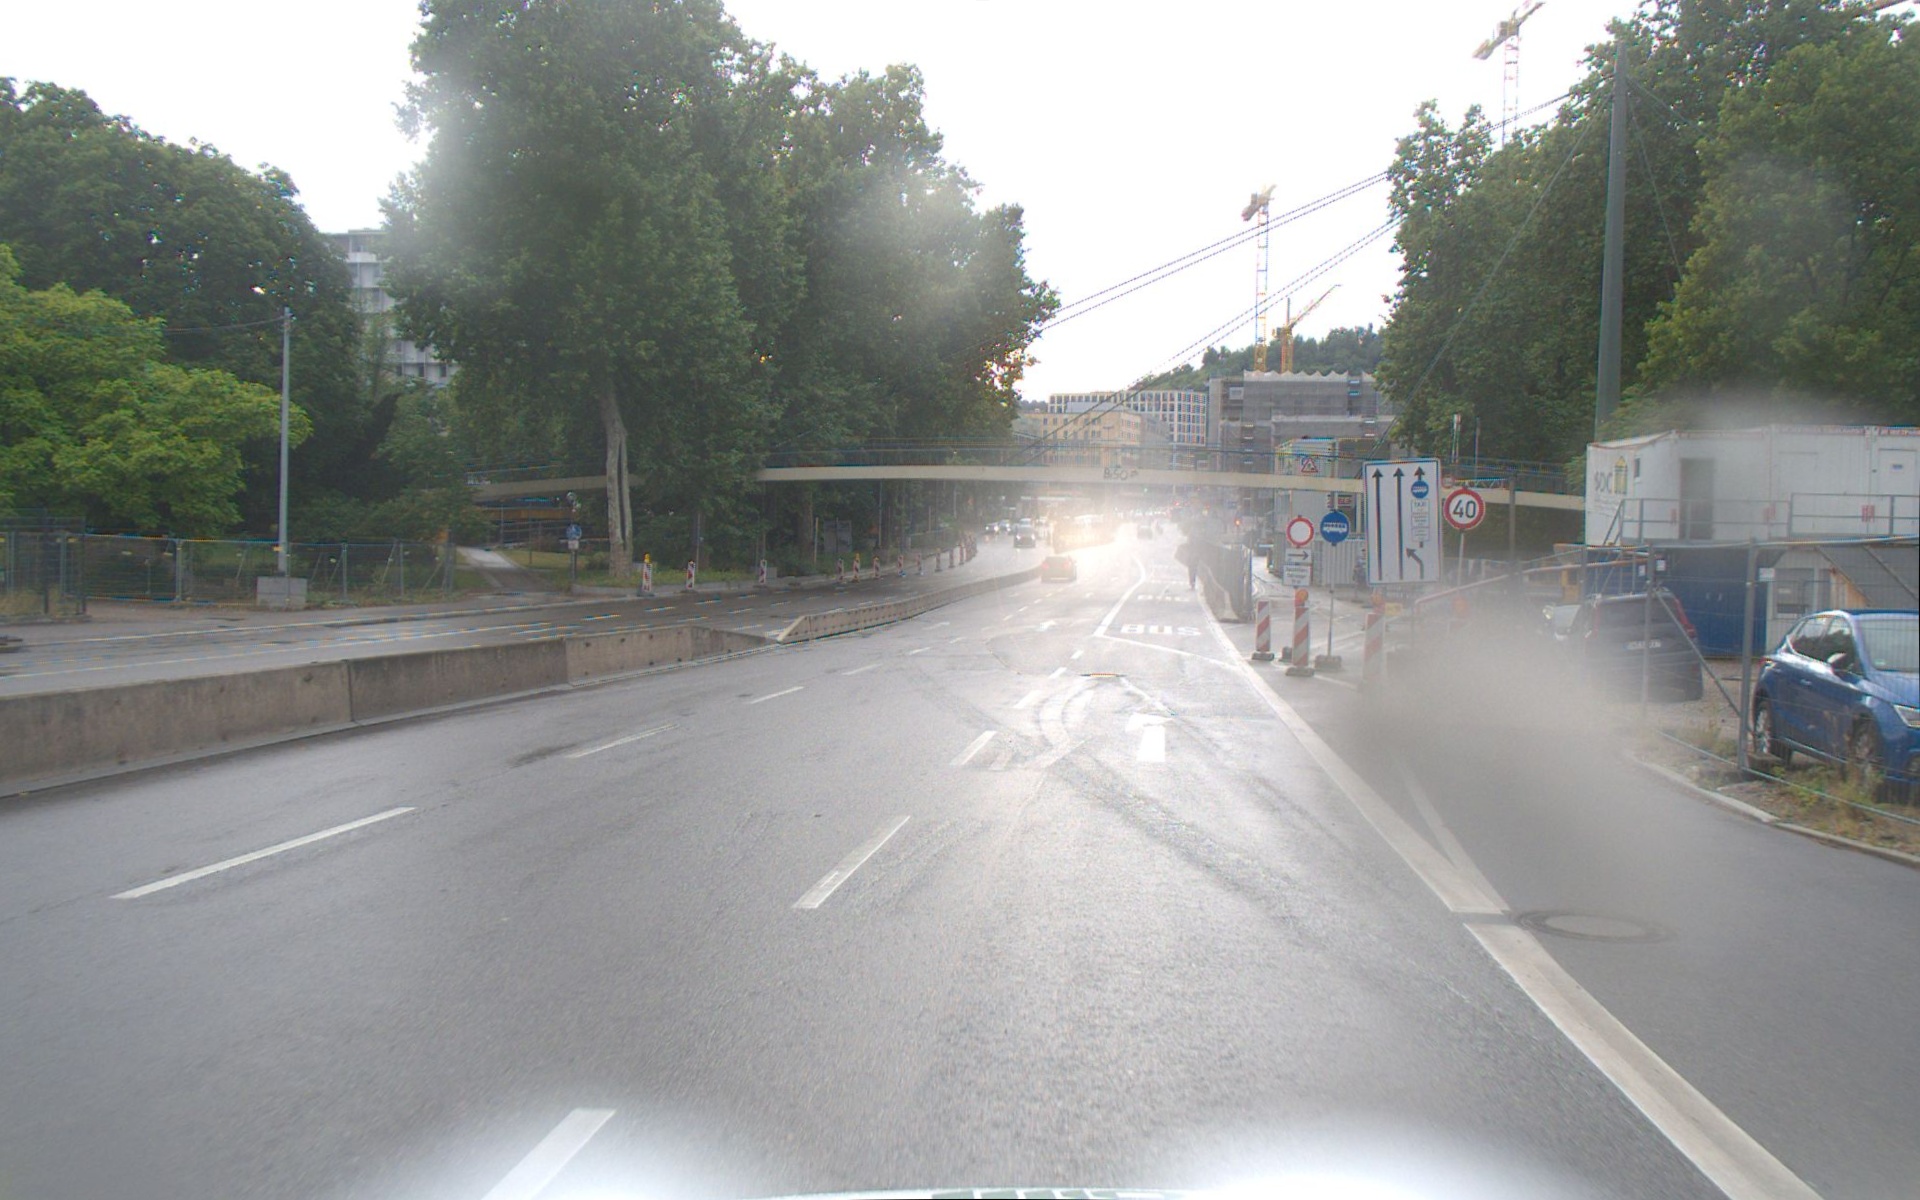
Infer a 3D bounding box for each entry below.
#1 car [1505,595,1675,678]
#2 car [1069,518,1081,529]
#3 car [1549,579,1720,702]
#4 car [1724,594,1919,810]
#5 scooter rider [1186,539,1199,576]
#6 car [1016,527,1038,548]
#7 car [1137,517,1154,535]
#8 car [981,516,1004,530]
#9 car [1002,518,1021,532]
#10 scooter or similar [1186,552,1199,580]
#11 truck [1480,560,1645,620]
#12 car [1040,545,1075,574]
[{"bbox_3d":[12.377,0.738,32.782,1.813,1.511,3.999,-1,-2,0],"label":"car"},{"bbox_3d":[17.204,-11.468,247.564,1.862,1.554,4.180,-1,1,4],"label":"car"},{"bbox_3d":[10.828,0.590,26.855,1.881,1.678,4.417,-4,0,14],"label":"car"},{"bbox_3d":[7.969,0.753,13.770,1.793,1.466,4.417,3,1,10],"label":"car"},{"bbox_3d":[11.850,-2.180,84.245,0.584,1.816,0.998,1,3,9],"label":"scooter rider"},{"bbox_3d":[6.569,-6.159,163.309,1.989,1.970,5.045,-3,1,1],"label":"car"},{"bbox_3d":[22.340,-8.932,199.146,1.951,2.049,4.004,-1,1,8],"label":"car"},{"bbox_3d":[4.218,-9.981,214.112,1.996,1.681,4.306,-1,4,-13],"label":"car"},{"bbox_3d":[6.644,-9.708,214.304,1.682,1.360,4.054,-9,2,-8],"label":"car"},{"bbox_3d":[11.856,-1.731,84.264,0.584,1.341,1.669,1,3,9],"label":"scooter or similar"},{"bbox_3d":[21.616,-0.383,59.481,5.047,2.049,2.409,1,1,0],"label":"truck"},{"bbox_3d":[5.404,-2.203,91.429,1.862,1.554,4.180,-1,1,4],"label":"car"}]
